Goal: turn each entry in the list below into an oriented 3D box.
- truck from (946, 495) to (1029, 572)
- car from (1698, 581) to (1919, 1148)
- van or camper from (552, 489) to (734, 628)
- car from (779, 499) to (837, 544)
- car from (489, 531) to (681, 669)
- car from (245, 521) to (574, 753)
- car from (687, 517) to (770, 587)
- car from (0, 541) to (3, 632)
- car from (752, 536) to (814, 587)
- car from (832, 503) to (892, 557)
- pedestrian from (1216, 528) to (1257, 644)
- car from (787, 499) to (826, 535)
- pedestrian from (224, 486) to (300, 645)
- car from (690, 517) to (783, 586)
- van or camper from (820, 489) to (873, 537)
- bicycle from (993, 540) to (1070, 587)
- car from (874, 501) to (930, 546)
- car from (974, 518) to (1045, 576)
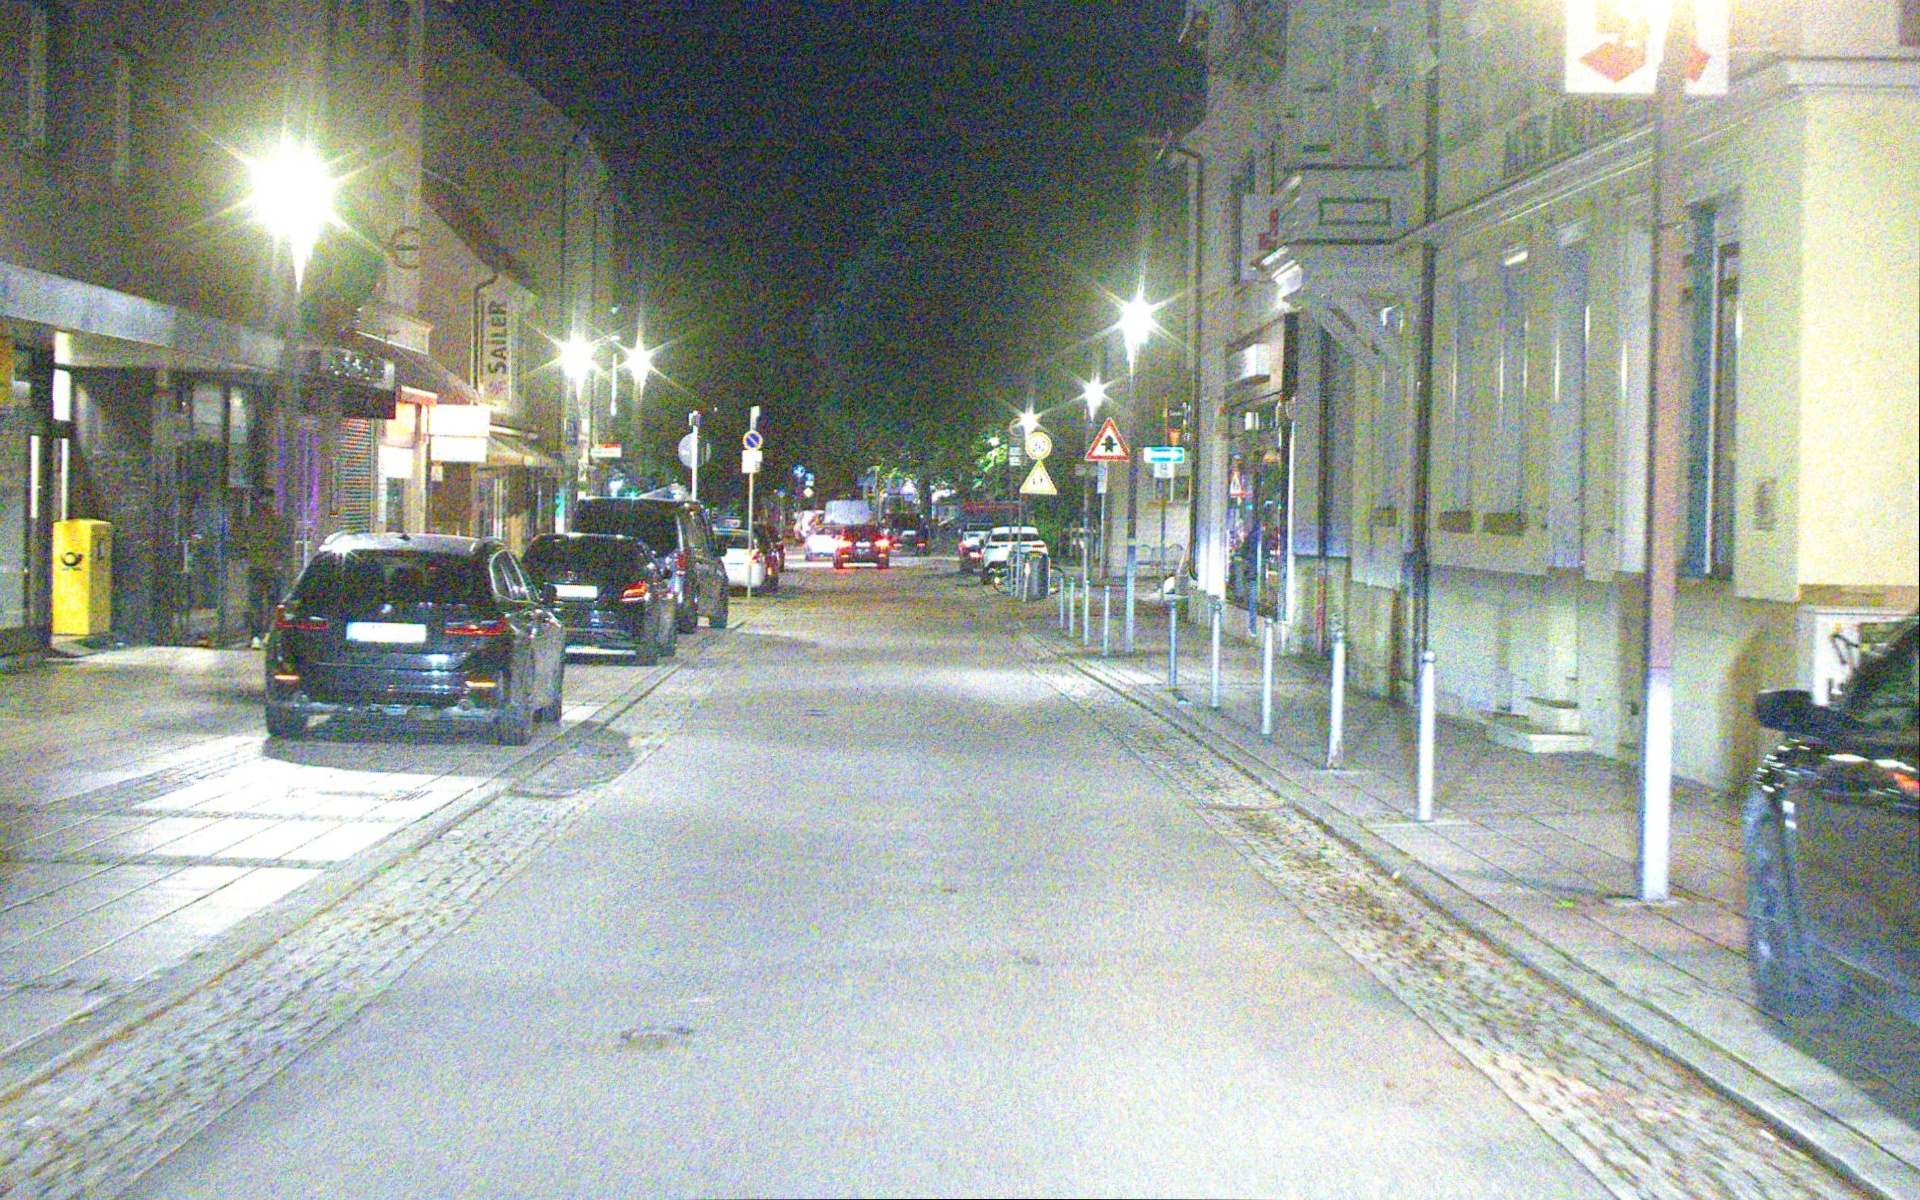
[{"bbox_3d":[0.823,-2.100,106.995,2.336,2.304,5.781,0,2,-2],"label":"truck"},{"bbox_3d":[3.257,0.658,9.493,1.661,1.373,4.104,-1,1,2],"label":"car"},{"bbox_3d":[-4.687,-0.648,51.522,1.846,1.935,5.153,2,1,4],"label":"van or camper"},{"bbox_3d":[-5.937,-3.050,133.927,1.993,1.697,4.001,1,1,-6],"label":"car"},{"bbox_3d":[-4.224,-0.045,39.315,1.716,1.408,4.386,2,1,-1],"label":"car"},{"bbox_3d":[-3.921,0.210,25.148,1.797,1.473,4.322,3,1,-2],"label":"car"},{"bbox_3d":[-5.213,-1.098,77.687,1.728,1.471,3.847,2,1,-2],"label":"car"},{"bbox_3d":[-3.475,0.579,6.991,1.845,1.459,4.624,2,1,-2],"label":"car"},{"bbox_3d":[-5.741,-1.265,111.232,1.673,1.538,4.232,2,1,-7],"label":"car"},{"bbox_3d":[-3.401,-2.423,118.819,1.993,1.817,4.001,1,1,-2],"label":"car"},{"bbox_3d":[3.726,-0.196,46.364,0.501,1.542,0.480,2,1,5],"label":"pedestrian"},{"bbox_3d":[-8.336,-4.521,187.010,1.839,1.894,3.846,0,1,-7],"label":"car"},{"bbox_3d":[-7.792,-0.393,38.393,0.621,1.739,1.023,1,1,-1],"label":"pedestrian"},{"bbox_3d":[-5.394,-1.203,83.354,2.019,1.483,5.008,4,1,-2],"label":"car"},{"bbox_3d":[-5.563,-4.291,168.513,2.108,2.309,4.263,-1,2,-8],"label":"van or camper"},{"bbox_3d":[1.656,-0.851,79.897,1.754,1.058,0.346,0,1,-4],"label":"bicycle"},{"bbox_3d":[-2.412,-3.162,142.405,1.814,1.822,4.348,0,2,-7],"label":"car"},{"bbox_3d":[1.294,-1.431,91.465,1.789,1.486,4.059,-1,1,0],"label":"car"}]
